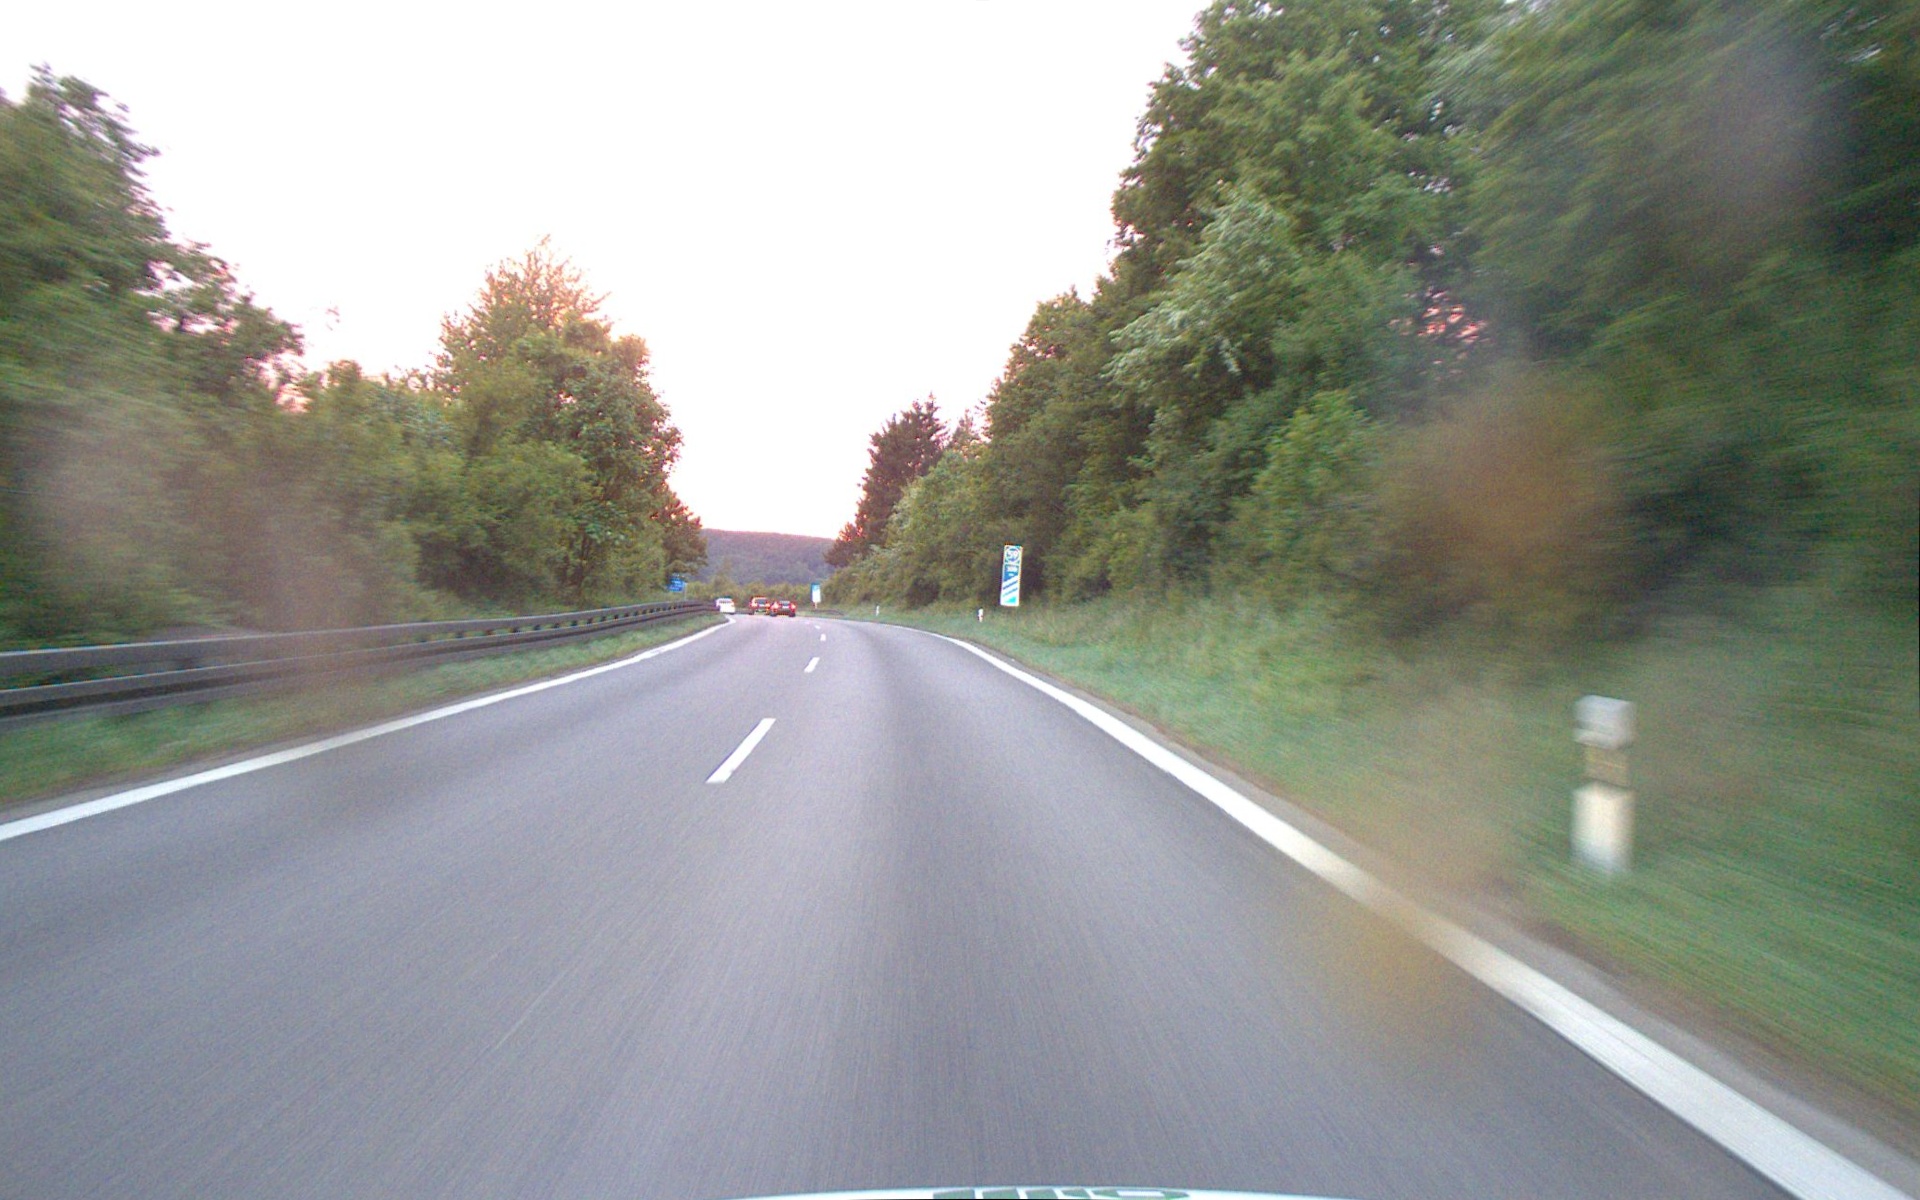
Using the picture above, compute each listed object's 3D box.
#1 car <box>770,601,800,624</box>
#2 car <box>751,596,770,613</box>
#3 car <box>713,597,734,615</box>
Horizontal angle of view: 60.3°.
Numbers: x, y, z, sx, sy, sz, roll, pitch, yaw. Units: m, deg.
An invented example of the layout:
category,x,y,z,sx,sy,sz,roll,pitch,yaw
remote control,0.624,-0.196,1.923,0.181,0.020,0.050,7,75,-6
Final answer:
category,x,y,z,sx,sy,sz,roll,pitch,yaw
car,-14.916,1.057,140.891,1.960,1.674,3.985,4,-3,-13
car,-19.429,0.451,161.388,1.685,1.664,3.996,0,0,-5
car,-22.004,0.582,153.947,1.685,1.528,3.995,2,-2,-5
